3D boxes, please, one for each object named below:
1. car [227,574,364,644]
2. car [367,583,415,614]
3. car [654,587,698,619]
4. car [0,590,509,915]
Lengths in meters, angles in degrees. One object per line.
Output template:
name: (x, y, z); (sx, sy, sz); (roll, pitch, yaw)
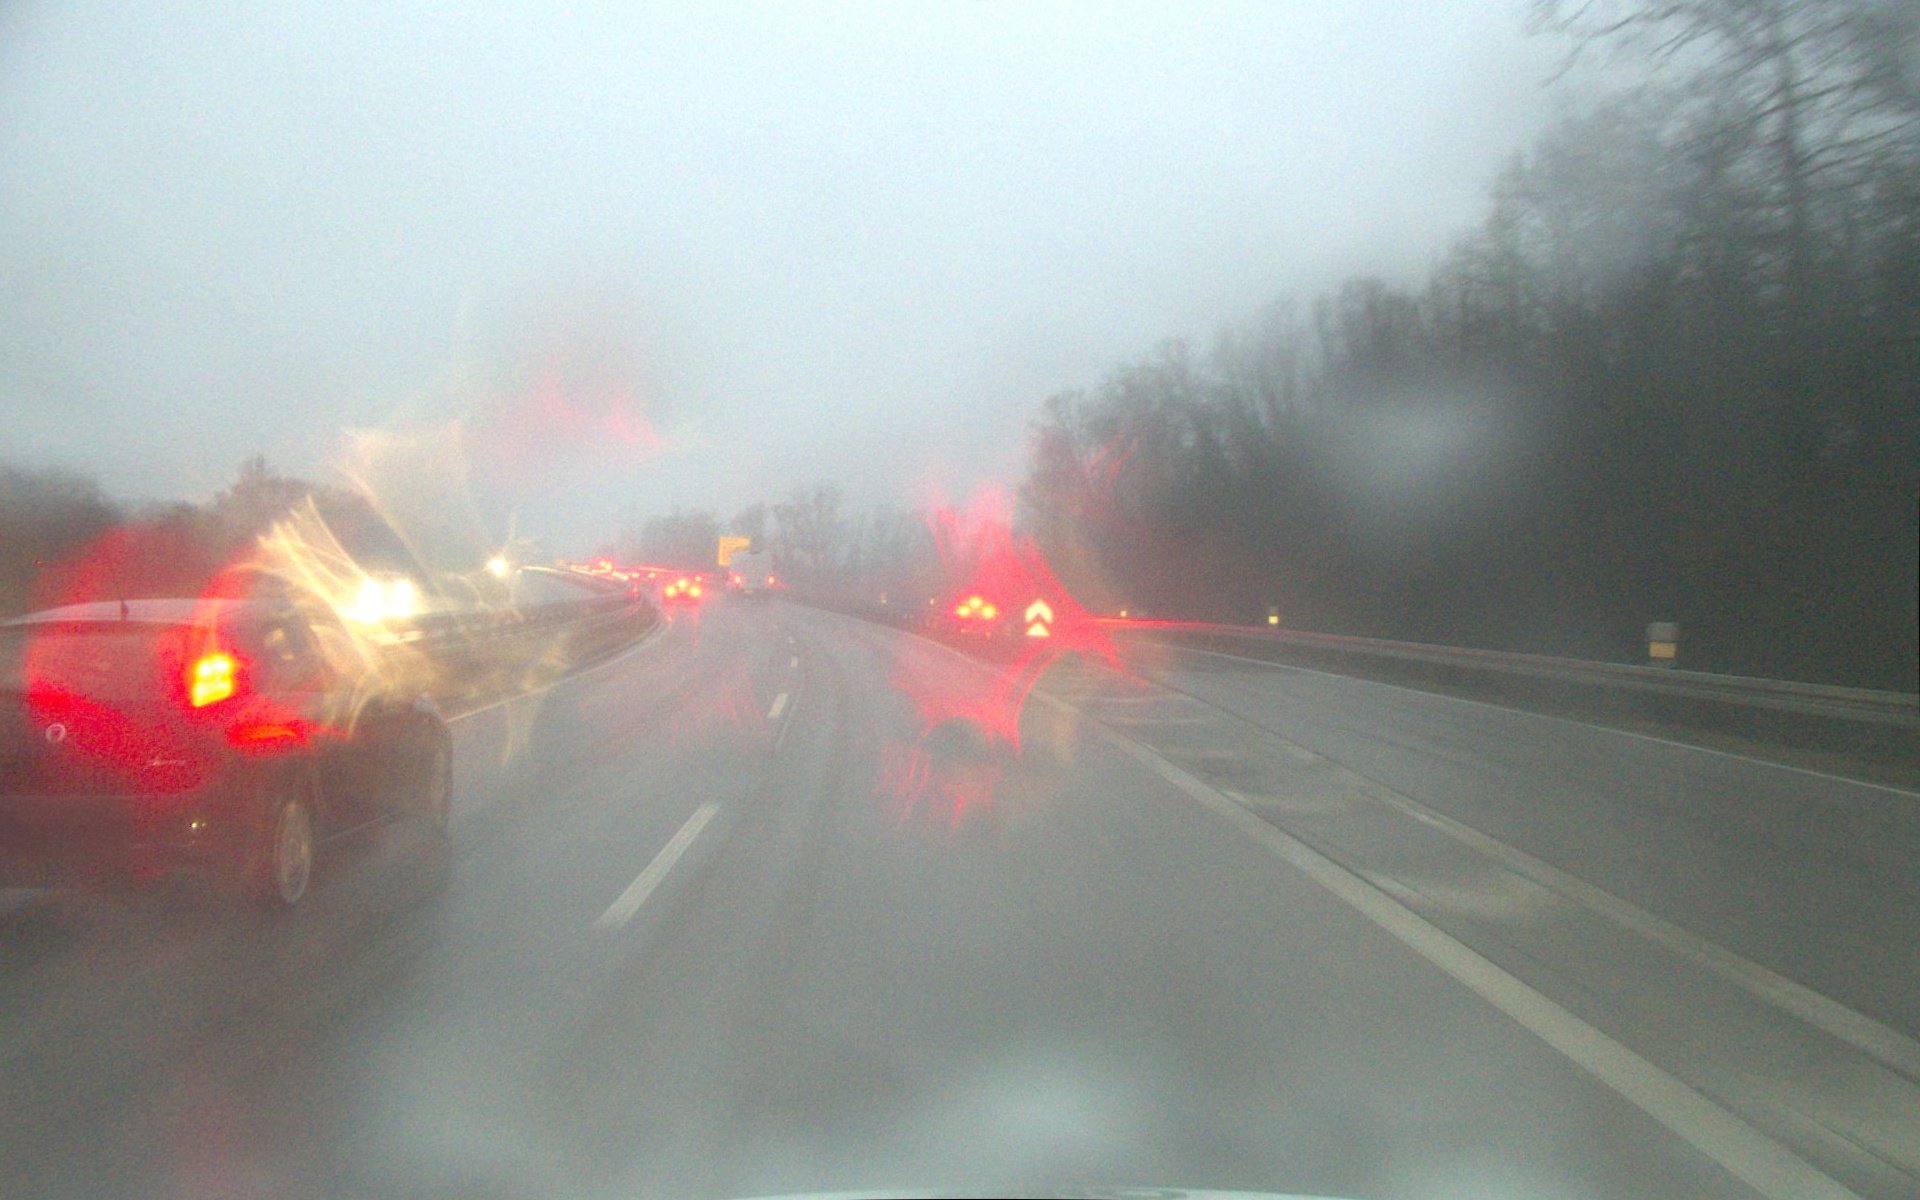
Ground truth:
car: (-17.124, 0.199, 42.865); (1.954, 1.702, 4.426); (1, 0, -3)
car: (-26.899, -0.083, 78.279); (1.642, 1.445, 4.069); (0, 0, -12)
car: (-15.187, 0.179, 88.294); (1.806, 1.564, 3.980); (2, -1, -17)
car: (-3.709, 0.671, 9.328); (1.594, 1.416, 3.995); (1, 0, -6)
